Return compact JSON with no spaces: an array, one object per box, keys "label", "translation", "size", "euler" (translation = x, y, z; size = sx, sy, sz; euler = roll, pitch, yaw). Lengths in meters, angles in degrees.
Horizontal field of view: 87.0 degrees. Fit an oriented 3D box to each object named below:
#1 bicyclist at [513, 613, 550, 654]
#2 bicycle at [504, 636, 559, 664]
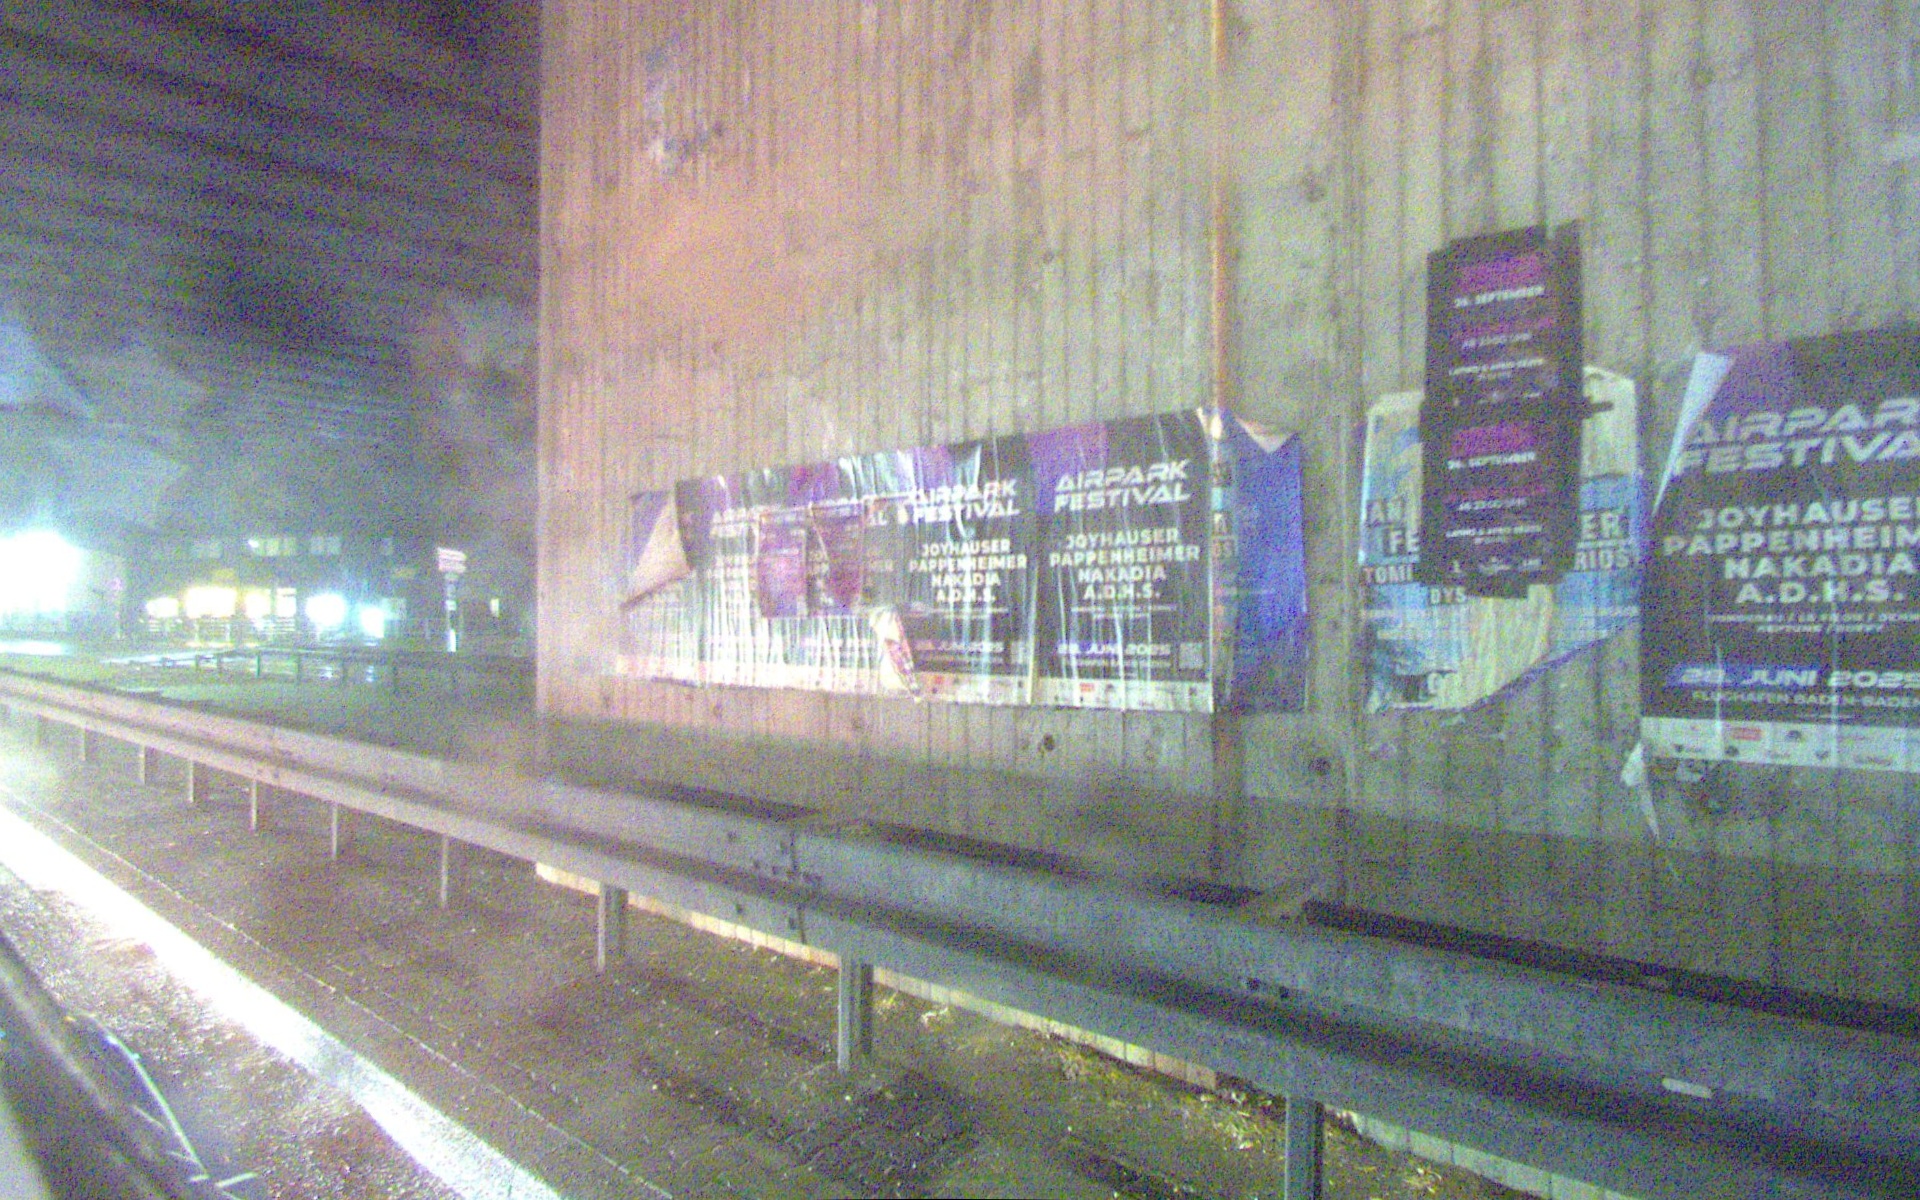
[{"label":"bicyclist","translation":[-15.248,1.183,35.992],"size":[1.184,1.446,0.623],"euler":[-1,-2,32]},{"label":"bicycle","translation":[-15.242,1.764,35.974],"size":[2.206,0.912,0.622],"euler":[0,-2,32]}]
